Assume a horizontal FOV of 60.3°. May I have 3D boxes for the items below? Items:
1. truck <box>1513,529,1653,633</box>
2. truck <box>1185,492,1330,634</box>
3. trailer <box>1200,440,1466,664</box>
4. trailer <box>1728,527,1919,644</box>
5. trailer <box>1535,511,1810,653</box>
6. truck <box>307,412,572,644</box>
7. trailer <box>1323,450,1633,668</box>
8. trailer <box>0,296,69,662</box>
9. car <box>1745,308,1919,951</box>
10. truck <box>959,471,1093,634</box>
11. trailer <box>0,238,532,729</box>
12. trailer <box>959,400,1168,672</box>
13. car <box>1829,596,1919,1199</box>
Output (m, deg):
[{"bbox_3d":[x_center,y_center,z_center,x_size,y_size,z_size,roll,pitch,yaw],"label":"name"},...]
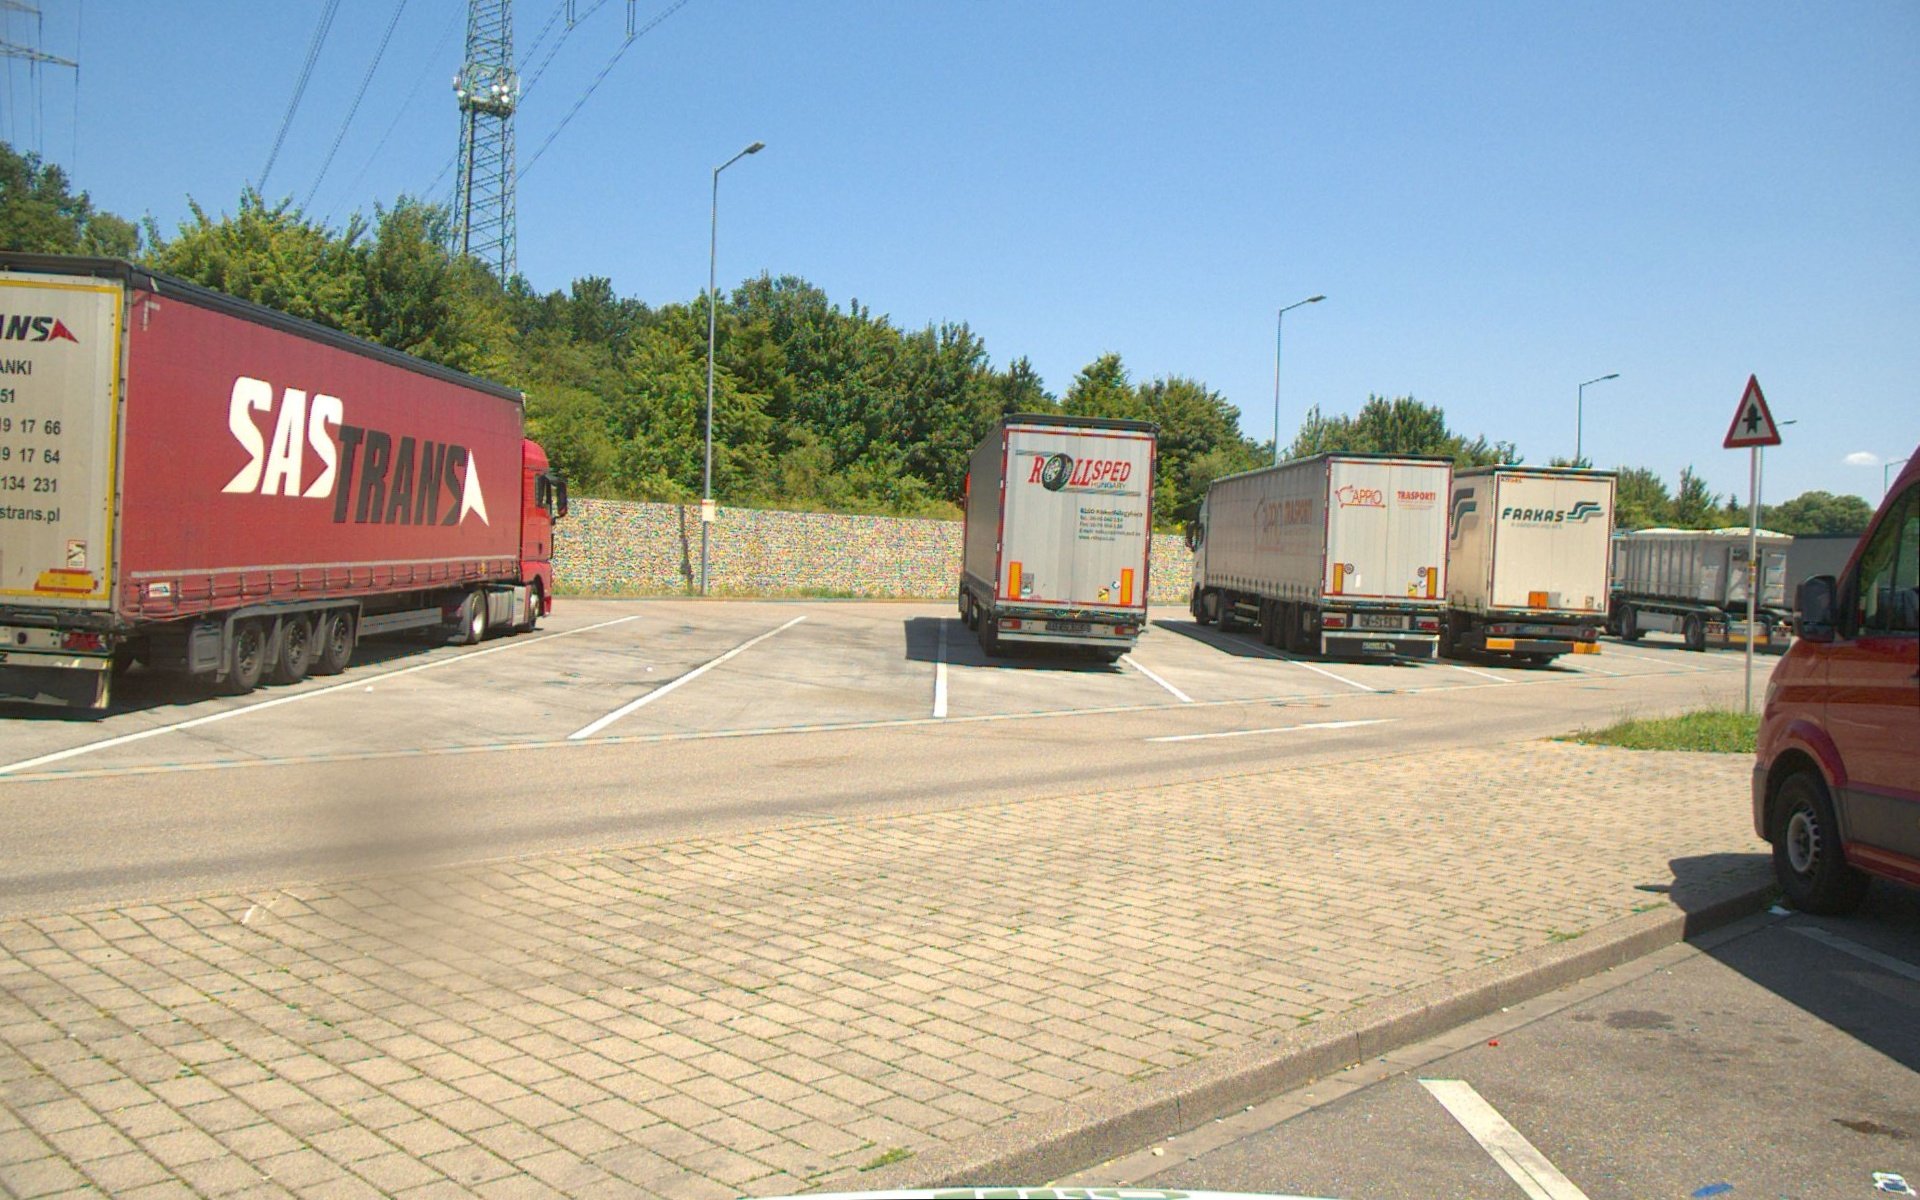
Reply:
[{"bbox_3d":[22.006,-0.725,58.717,2.794,3.423,5.484,2,2,0],"label":"truck"},{"bbox_3d":[8.094,-1.045,45.642,2.794,3.544,5.482,2,2,-1],"label":"truck"},{"bbox_3d":[8.209,-1.144,38.833,2.781,4.204,13.722,2,2,-1],"label":"trailer"},{"bbox_3d":[34.937,-0.658,65.418,2.780,4.119,13.726,2,2,1],"label":"trailer"},{"bbox_3d":[21.925,-0.695,52.213,2.780,3.781,13.726,2,2,1],"label":"trailer"},{"bbox_3d":[-8.793,-1.208,28.625,2.794,3.487,5.482,2,2,-1],"label":"truck"},{"bbox_3d":[11.769,-1.024,39.638,2.781,4.204,13.722,2,2,-1],"label":"trailer"},{"bbox_3d":[-12.524,-1.309,15.707,2.673,4.282,10.170,2,2,-1],"label":"trailer"},{"bbox_3d":[5.011,0.161,5.564,2.023,2.742,6.397,1,1,4],"label":"car"},{"bbox_3d":[1.480,-1.148,39.852,2.794,3.544,5.482,2,2,-1],"label":"truck"},{"bbox_3d":[-8.679,-1.298,21.190,2.848,4.203,13.723,2,2,-1],"label":"trailer"},{"bbox_3d":[1.649,-1.235,33.243,2.848,4.204,13.720,2,2,-2],"label":"trailer"},{"bbox_3d":[2.600,0.796,1.160,1.703,1.508,3.813,1,1,-6],"label":"car"}]
